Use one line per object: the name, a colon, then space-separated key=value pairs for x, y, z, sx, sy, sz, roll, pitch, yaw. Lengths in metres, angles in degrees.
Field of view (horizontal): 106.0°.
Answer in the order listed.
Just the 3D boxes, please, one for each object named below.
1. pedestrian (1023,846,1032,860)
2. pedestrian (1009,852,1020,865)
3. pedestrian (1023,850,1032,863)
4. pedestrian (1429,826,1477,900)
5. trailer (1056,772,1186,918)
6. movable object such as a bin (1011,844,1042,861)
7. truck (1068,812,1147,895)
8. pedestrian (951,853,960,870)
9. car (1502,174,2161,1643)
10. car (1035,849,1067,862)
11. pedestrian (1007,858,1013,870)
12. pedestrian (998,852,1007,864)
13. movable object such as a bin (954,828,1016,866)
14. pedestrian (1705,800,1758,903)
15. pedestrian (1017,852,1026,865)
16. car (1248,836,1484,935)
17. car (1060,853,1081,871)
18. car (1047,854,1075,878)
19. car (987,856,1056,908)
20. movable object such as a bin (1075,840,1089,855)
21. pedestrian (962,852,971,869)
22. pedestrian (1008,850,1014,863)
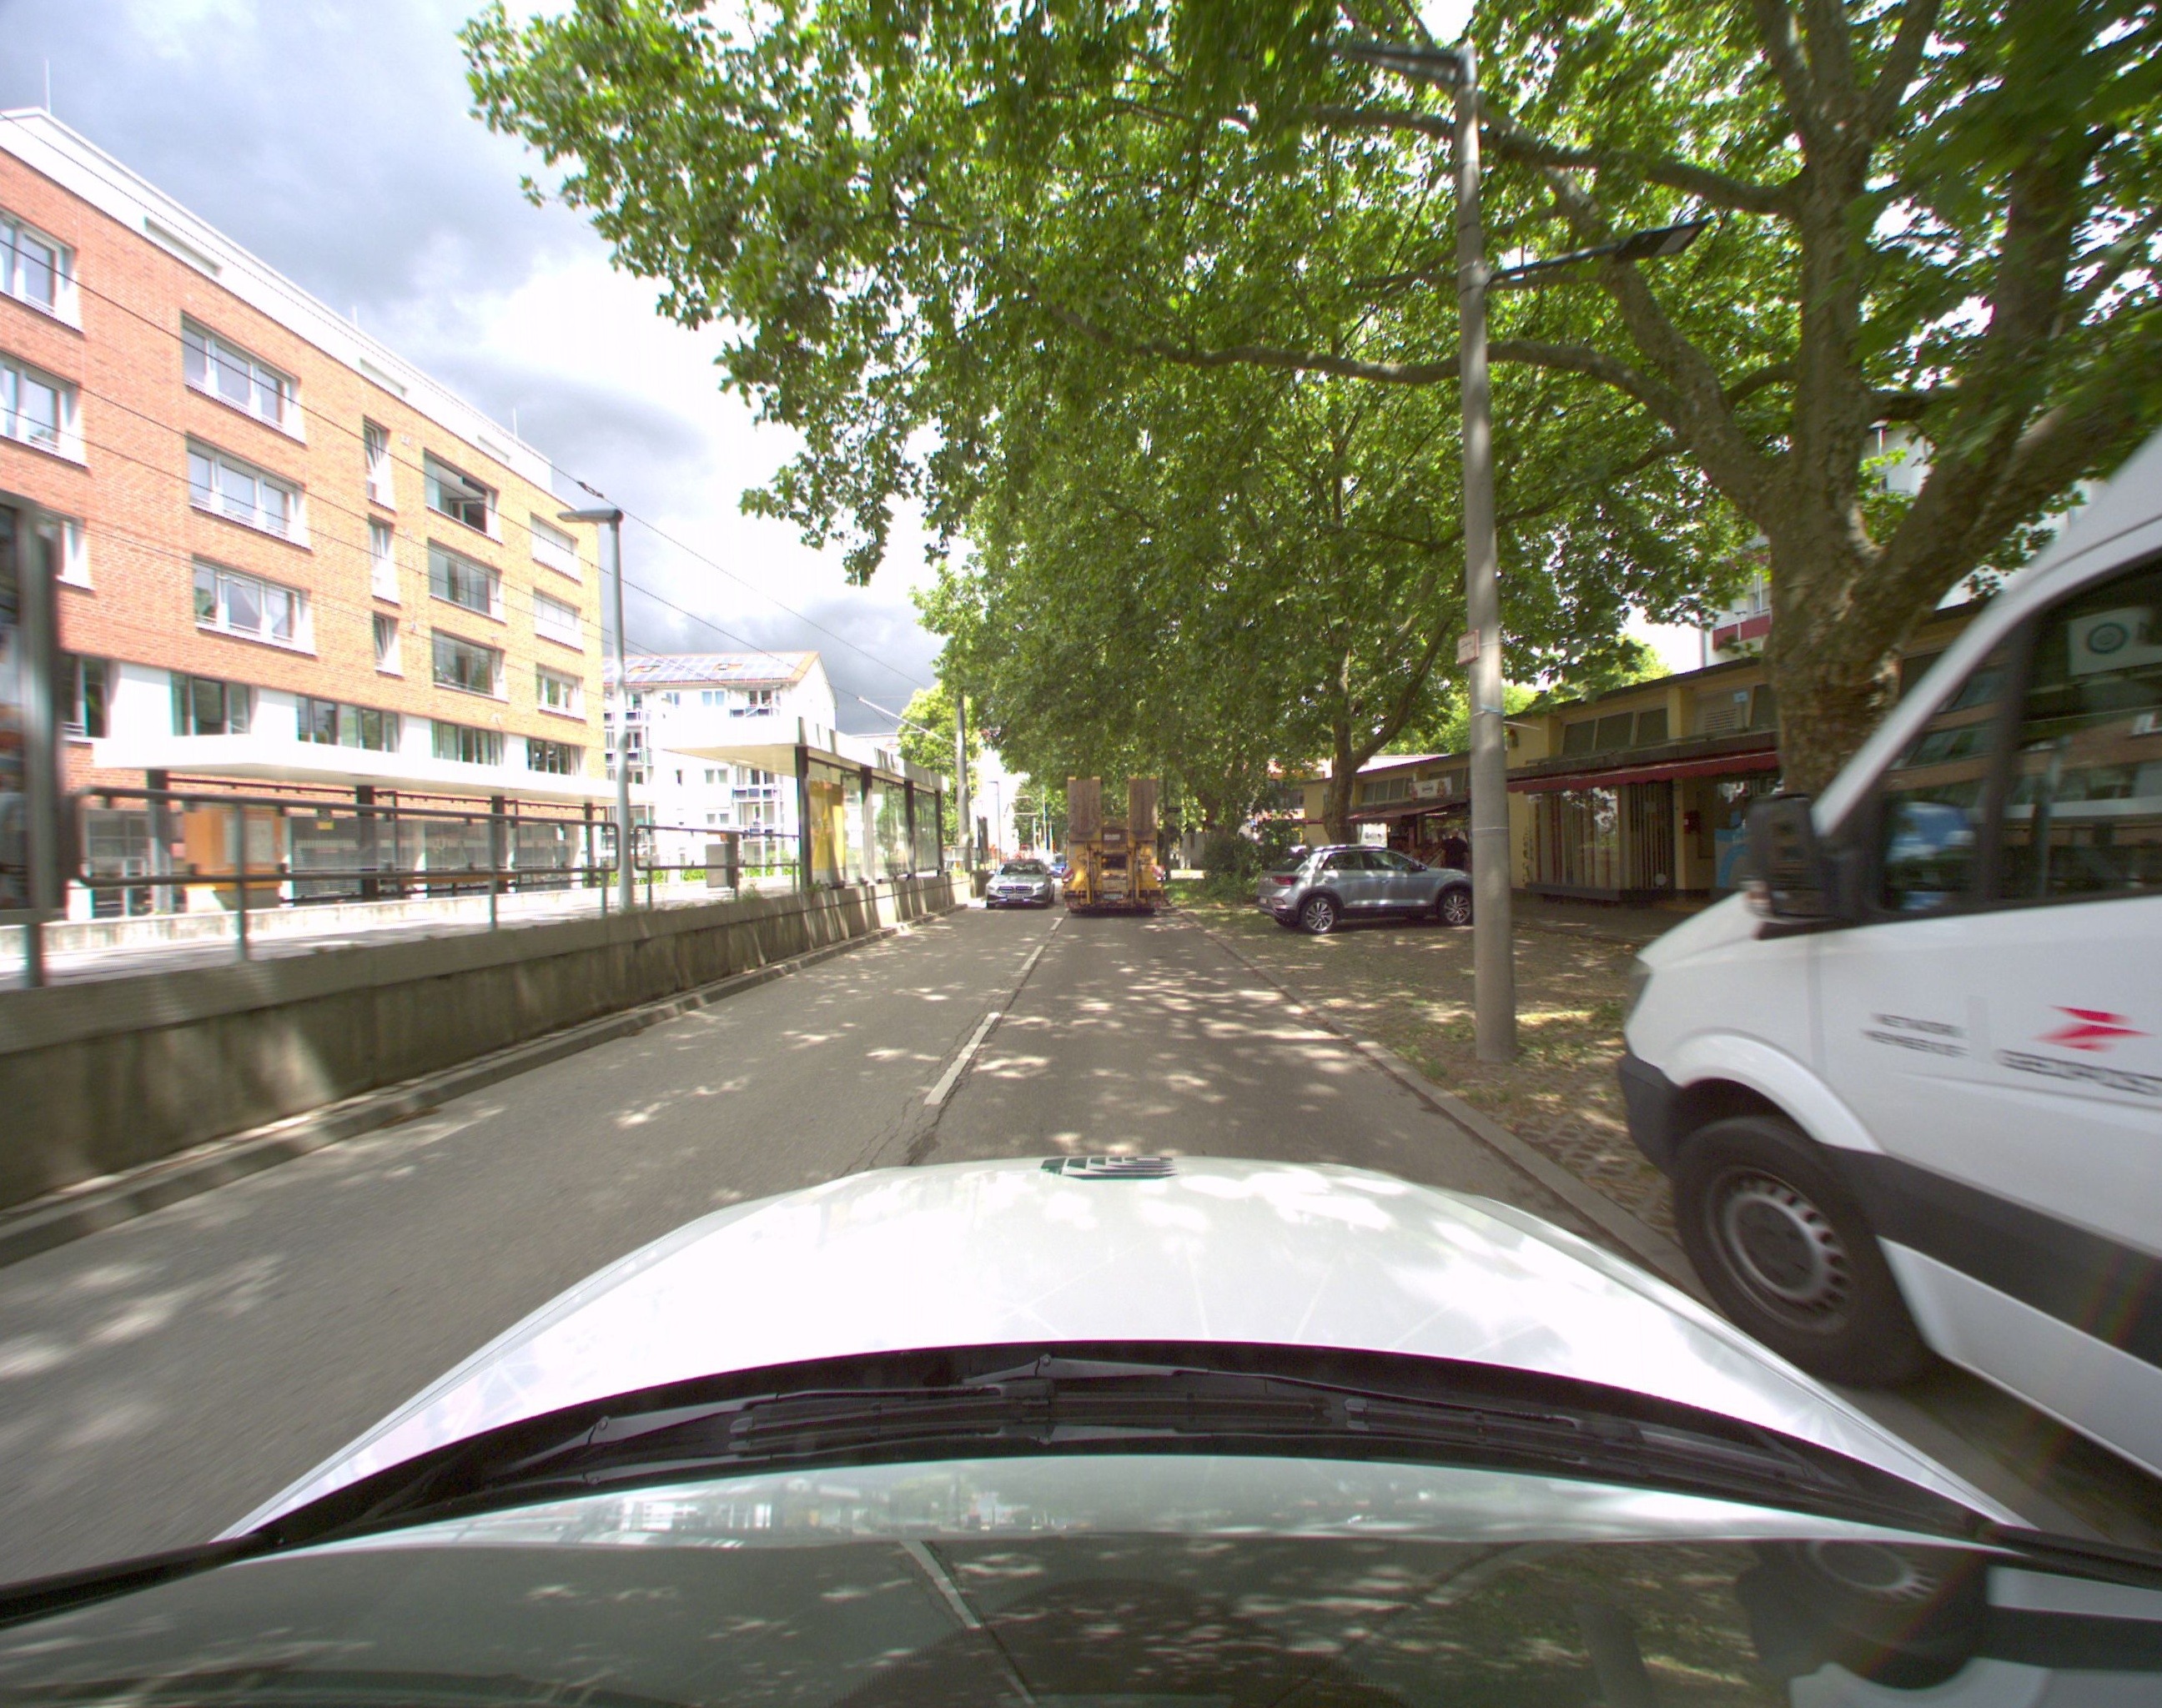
pedestrian: x=-7.117 y=-0.123 z=108.541 sx=0.890 sy=1.867 sz=0.830 roll=-1 pitch=0 yaw=-27
pedestrian: x=-8.862 y=0.642 z=108.763 sx=1.117 sy=1.715 sz=0.877 roll=-1 pitch=0 yaw=-43
pedestrian: x=-7.287 y=0.332 z=110.868 sx=0.877 sy=1.867 sz=0.842 roll=-1 pitch=0 yaw=30
pedestrian: x=8.941 y=0.211 z=19.575 sx=0.757 sy=1.724 sz=0.658 roll=-3 pitch=0 yaw=-3
trailer: x=0.989 y=-0.217 z=25.585 sx=3.144 sy=3.552 sz=11.095 roll=-1 pitch=0 yaw=0
movable object such as a bin: x=-8.467 y=-0.246 z=126.762 sx=4.325 sy=2.629 sz=2.234 roll=-1 pitch=0 yaw=28
truck: x=1.037 y=-0.028 z=35.069 sx=2.980 sy=3.135 sz=7.886 roll=-1 pitch=0 yaw=0
pedestrian: x=-12.910 y=0.762 z=83.614 sx=0.729 sy=1.625 sz=0.867 roll=-1 pitch=0 yaw=1
car: x=2.803 y=0.088 z=0.194 sx=1.897 sy=2.581 sz=6.836 roll=-3 pitch=0 yaw=2
car: x=-5.131 y=0.287 z=138.633 sx=5.095 sy=2.102 sz=1.968 roll=-2 pitch=0 yaw=-13
pedestrian: x=-9.974 y=1.430 z=114.760 sx=0.884 sy=1.645 sz=0.835 roll=-1 pitch=0 yaw=-6
pedestrian: x=-10.429 y=0.508 z=107.995 sx=0.891 sy=1.645 sz=0.891 roll=-1 pitch=0 yaw=-29
movable object such as a bin: x=-14.438 y=-1.005 z=122.295 sx=9.115 sy=5.414 sz=2.680 roll=-1 pitch=0 yaw=28
pedestrian: x=11.021 y=-0.036 z=13.805 sx=0.543 sy=1.704 sz=0.372 roll=-2 pitch=0 yaw=-6
pedestrian: x=-7.774 y=0.595 z=107.094 sx=0.878 sy=1.760 sz=0.841 roll=-1 pitch=0 yaw=20
car: x=5.280 y=0.556 z=15.325 sx=3.824 sy=1.562 sz=1.617 roll=-3 pitch=0 yaw=-6
car: x=-0.879 y=0.699 z=72.803 sx=1.747 sy=1.633 sz=4.119 roll=0 pitch=0 yaw=1
car: x=-1.320 y=0.813 z=55.621 sx=1.690 sy=1.564 sz=3.861 roll=-1 pitch=-1 yaw=1
car: x=-1.777 y=0.816 z=25.765 sx=1.756 sy=1.481 sz=4.577 roll=0 pitch=0 yaw=1
movable object such as a bin: x=0.209 y=-0.902 z=113.573 sx=1.389 sy=2.013 sz=2.565 roll=-1 pitch=0 yaw=12
pedestrian: x=-11.807 y=0.702 z=83.895 sx=0.697 sy=1.718 sz=0.867 roll=-1 pitch=0 yaw=1
pedestrian: x=-10.604 y=0.363 z=122.858 sx=0.834 sy=1.867 sz=0.885 roll=-1 pitch=0 yaw=-10
